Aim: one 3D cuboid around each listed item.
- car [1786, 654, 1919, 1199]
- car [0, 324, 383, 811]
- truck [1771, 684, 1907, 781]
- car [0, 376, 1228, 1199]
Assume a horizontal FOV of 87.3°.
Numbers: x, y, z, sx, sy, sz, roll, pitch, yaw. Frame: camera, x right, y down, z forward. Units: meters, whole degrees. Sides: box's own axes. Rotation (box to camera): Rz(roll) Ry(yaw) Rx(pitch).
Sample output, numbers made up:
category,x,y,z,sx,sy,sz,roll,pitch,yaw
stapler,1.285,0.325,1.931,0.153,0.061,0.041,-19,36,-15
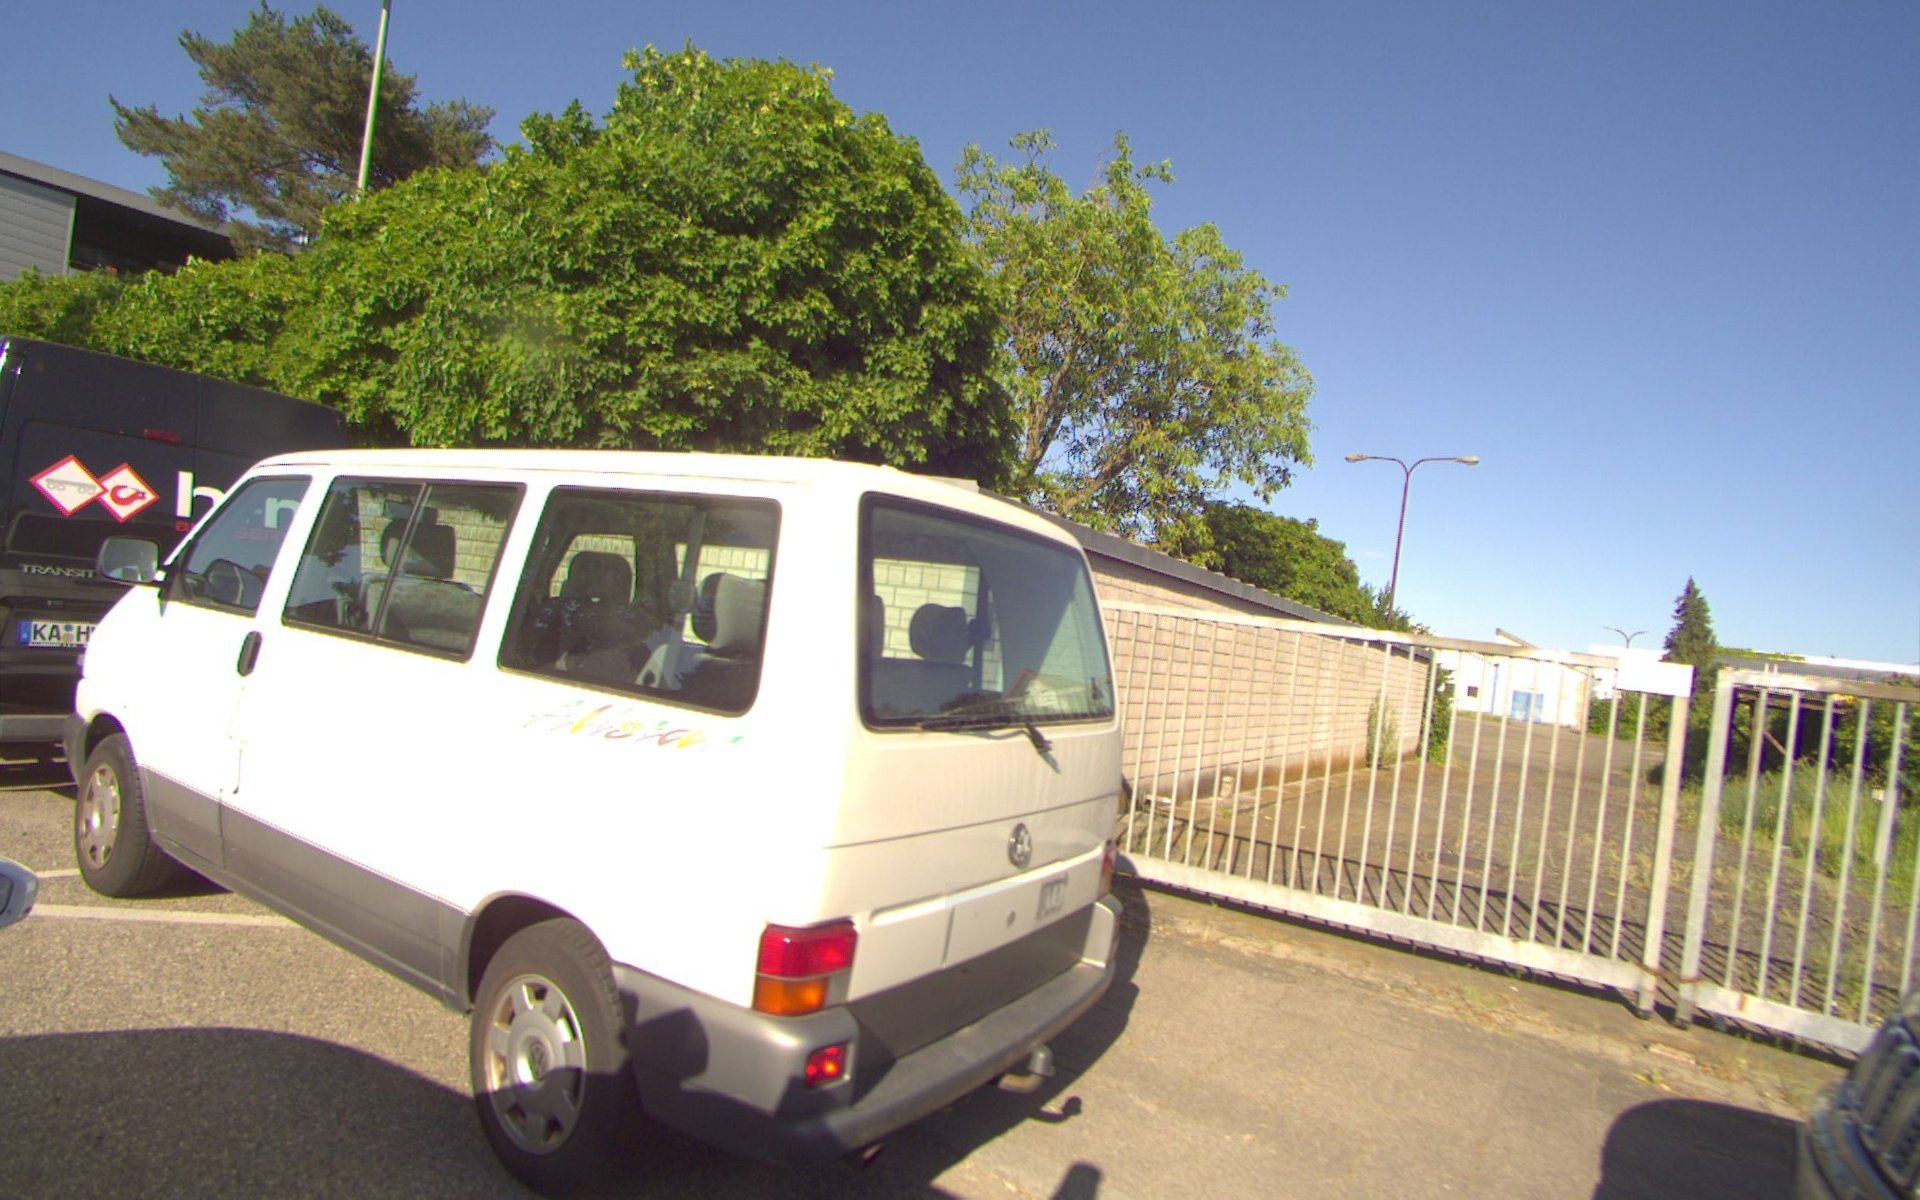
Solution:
category,x,y,z,sx,sy,sz,roll,pitch,yaw
car,3.692,1.162,0.474,4.832,1.763,1.805,6,-3,32
car,-6.245,-0.314,6.720,5.062,2.287,1.894,7,0,33
truck,31.475,4.773,36.258,2.669,2.871,5.977,6,-3,34
car,-1.715,0.408,3.962,4.841,1.949,1.894,7,0,33
